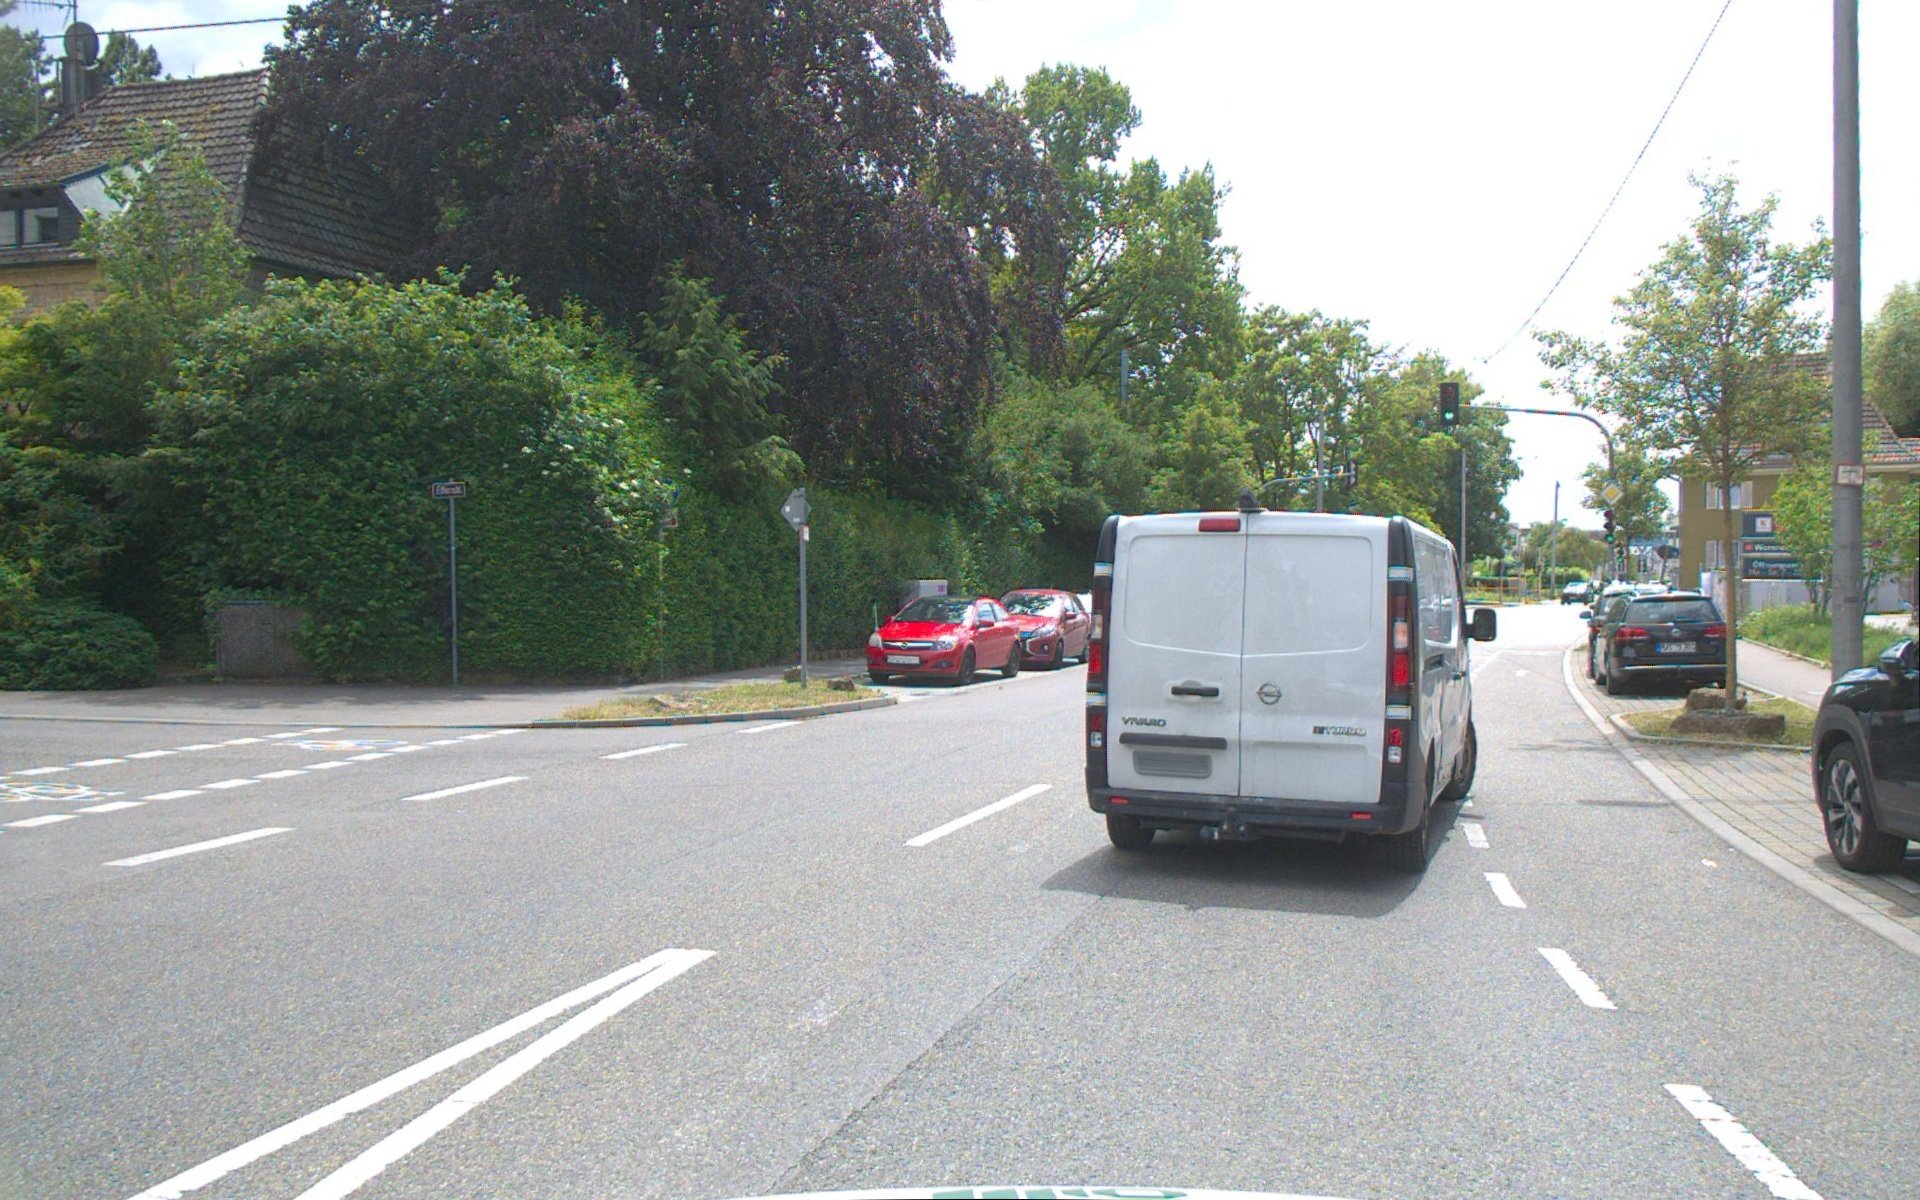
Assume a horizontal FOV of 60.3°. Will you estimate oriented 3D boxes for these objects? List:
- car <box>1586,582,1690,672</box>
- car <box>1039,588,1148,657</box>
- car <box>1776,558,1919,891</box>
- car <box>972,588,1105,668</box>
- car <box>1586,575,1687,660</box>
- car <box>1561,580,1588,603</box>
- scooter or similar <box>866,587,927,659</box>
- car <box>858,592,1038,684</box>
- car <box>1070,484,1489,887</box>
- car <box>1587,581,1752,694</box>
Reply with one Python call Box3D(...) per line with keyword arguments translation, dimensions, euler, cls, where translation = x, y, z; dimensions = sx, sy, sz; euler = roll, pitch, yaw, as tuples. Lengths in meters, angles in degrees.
Box3D(translation=(12.311, 0.453, 30.205), dimensions=(1.535, 1.519, 4.001), euler=(-1, 0, 19), cls="car")
Box3D(translation=(3.101, 0.482, 37.941), dimensions=(1.562, 1.476, 3.597), euler=(1, 1, 20), cls="car")
Box3D(translation=(5.595, 0.597, 7.701), dimensions=(1.838, 1.650, 4.851), euler=(-2, 0, 9), cls="car")
Box3D(translation=(1.648, 0.507, 33.287), dimensions=(1.615, 1.476, 4.107), euler=(1, 1, 18), cls="car")
Box3D(translation=(14.421, 0.340, 35.424), dimensions=(1.701, 1.644, 4.388), euler=(-3, -1, 19), cls="car")
Box3D(translation=(44.957, -0.623, 120.987), dimensions=(1.795, 1.645, 4.153), euler=(-1, 1, 20), cls="car")
Box3D(translation=(-1.293, 0.453, 33.939), dimensions=(0.656, 1.437, 1.649), euler=(1, 1, 20), cls="scooter or similar")
Box3D(translation=(-0.103, 0.582, 28.277), dimensions=(1.626, 1.402, 4.567), euler=(1, 1, 19), cls="car")
Box3D(translation=(2.341, 0.384, 10.860), dimensions=(1.899, 1.994, 4.834), euler=(2, 1, 20), cls="car")
Box3D(translation=(10.772, 0.516, 25.415), dimensions=(1.727, 1.503, 4.938), euler=(-3, -1, 17), cls="car")
